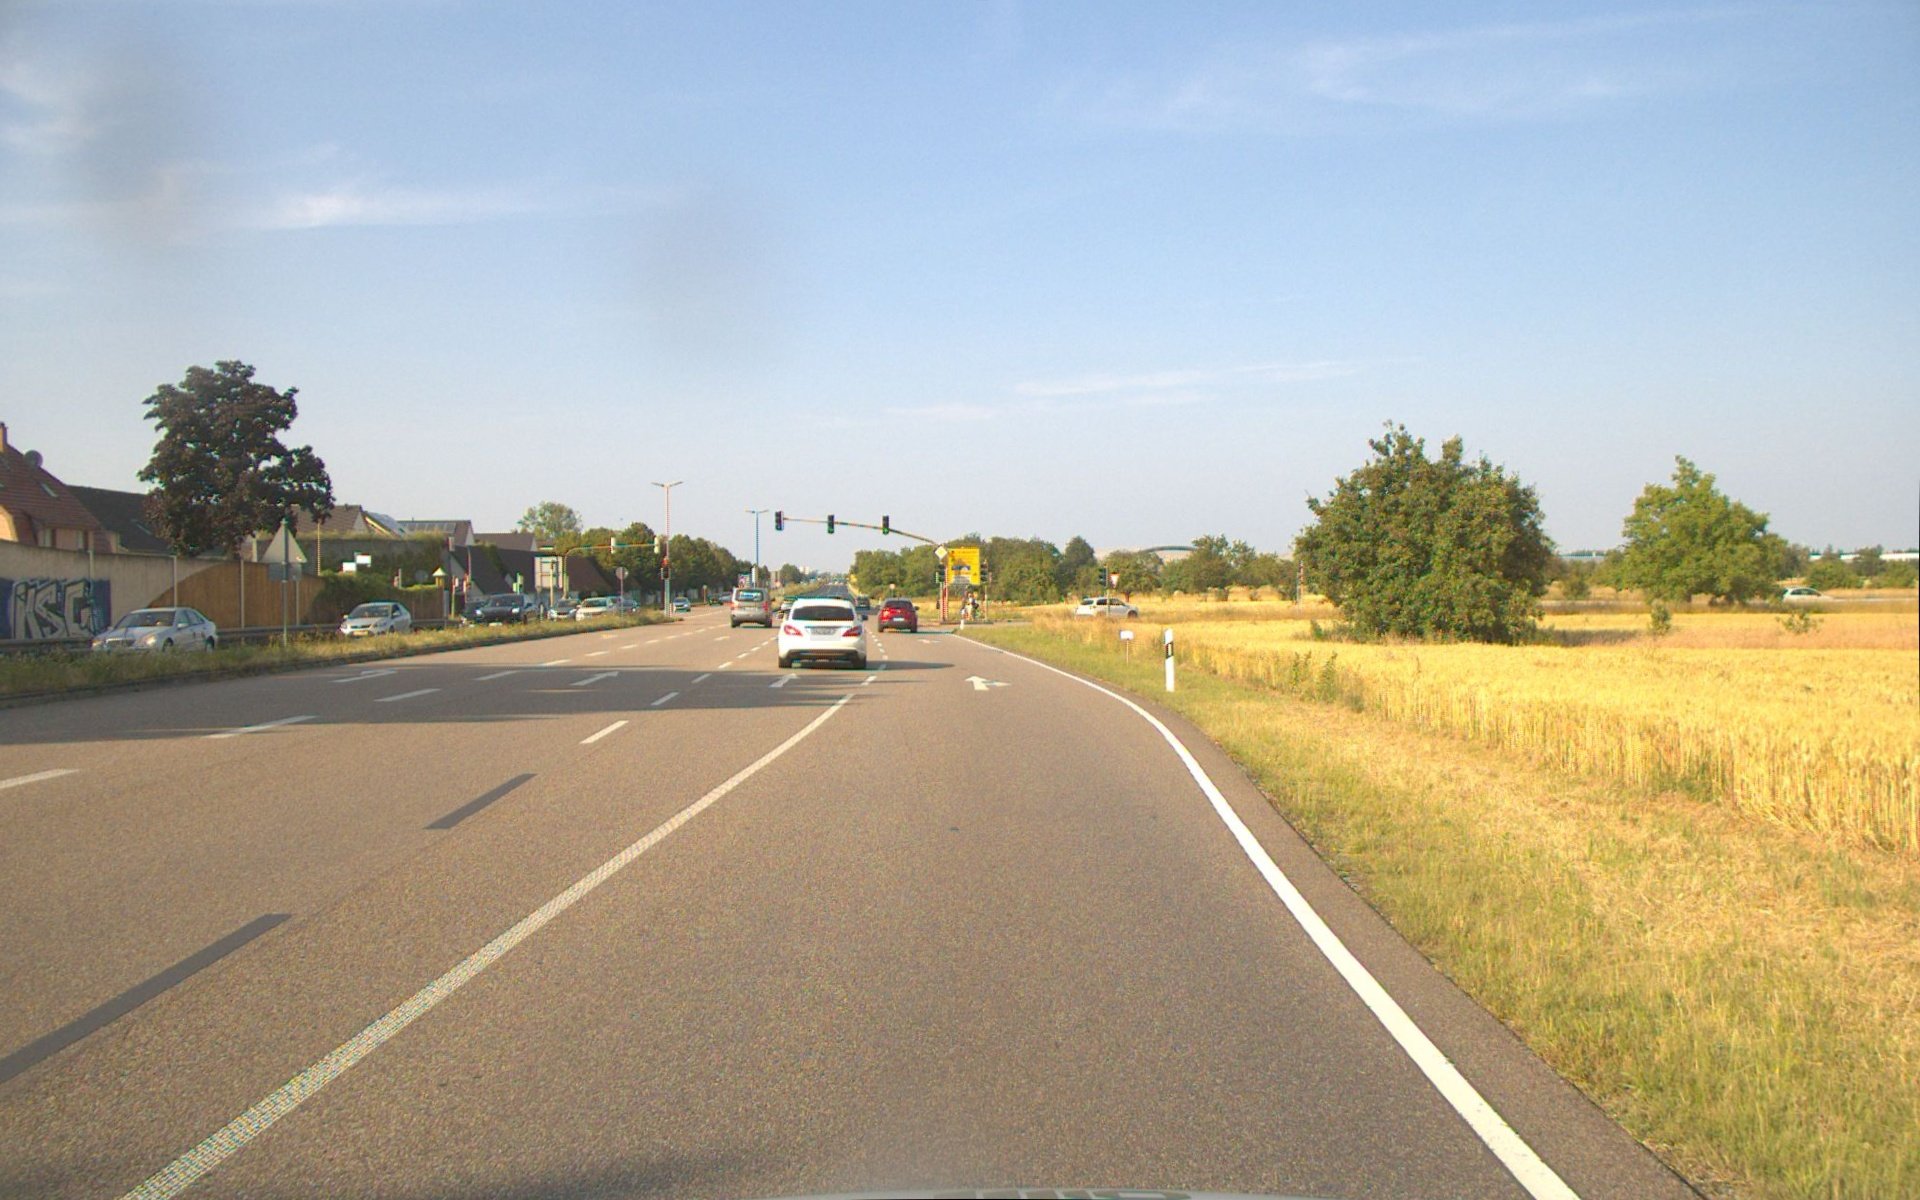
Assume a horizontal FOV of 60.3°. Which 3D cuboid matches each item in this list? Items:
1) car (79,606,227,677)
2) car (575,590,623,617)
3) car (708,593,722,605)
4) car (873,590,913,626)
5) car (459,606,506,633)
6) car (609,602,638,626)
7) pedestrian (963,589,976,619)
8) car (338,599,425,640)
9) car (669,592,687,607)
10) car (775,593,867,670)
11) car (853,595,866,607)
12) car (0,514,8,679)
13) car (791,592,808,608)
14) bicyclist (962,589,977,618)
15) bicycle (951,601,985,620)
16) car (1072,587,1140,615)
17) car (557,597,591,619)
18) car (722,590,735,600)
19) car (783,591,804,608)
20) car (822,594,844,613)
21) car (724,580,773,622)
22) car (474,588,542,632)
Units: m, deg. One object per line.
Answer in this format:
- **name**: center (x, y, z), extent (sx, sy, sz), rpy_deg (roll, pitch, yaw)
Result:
- **car**: center (-20.204, 0.992, 41.621), extent (1.618, 1.594, 4.709), rpy_deg (1, 0, -3)
- **car**: center (-19.453, 0.171, 89.271), extent (1.836, 1.344, 4.709), rpy_deg (1, 0, -4)
- **car**: center (-33.978, -0.144, 229.276), extent (1.700, 1.601, 3.700), rpy_deg (1, 0, -4)
- **car**: center (-3.051, 0.342, 74.590), extent (1.719, 1.543, 3.997), rpy_deg (0, 0, -3)
- **car**: center (-22.408, 0.897, 77.658), extent (1.445, 1.184, 3.060), rpy_deg (1, 0, -3)
- **car**: center (-26.572, 1.094, 130.683), extent (1.741, 1.781, 3.996), rpy_deg (1, 0, -5)
- **pedestrian**: center (0.592, 0.221, 100.481), extent (0.696, 1.782, 0.862), rpy_deg (1, 0, -2)
- **car**: center (-20.993, 0.689, 60.177), extent (1.745, 1.346, 4.602), rpy_deg (1, 0, -3)
- **car**: center (-30.034, -0.071, 176.260), extent (1.750, 1.462, 4.350), rpy_deg (1, 0, -7)
- **car**: center (-2.961, 0.626, 35.546), extent (1.857, 1.535, 3.997), rpy_deg (1, 0, -4)
- **car**: center (-11.078, 0.119, 181.781), extent (1.411, 1.306, 2.912), rpy_deg (1, 0, -3)
- **car**: center (-14.510, -0.050, 19.956), extent (2.302, 2.343, 7.184), rpy_deg (1, 0, -5)
- **car**: center (-17.862, -0.007, 184.289), extent (1.742, 1.694, 3.657), rpy_deg (1, 0, -7)
- **bicyclist**: center (0.588, 0.213, 102.436), extent (0.831, 1.786, 0.798), rpy_deg (1, 0, -3)
- **bicycle**: center (0.492, 0.626, 102.449), extent (2.053, 1.108, 0.807), rpy_deg (1, 0, -1)
- **car**: center (9.009, 0.073, 101.670), extent (3.956, 1.626, 1.837), rpy_deg (1, 0, -37)
- **car**: center (-24.528, 0.506, 105.165), extent (1.652, 1.308, 3.144), rpy_deg (1, 0, -5)
- **car**: center (-35.429, -0.786, 253.327), extent (1.700, 1.601, 3.700), rpy_deg (1, 0, -4)
- **car**: center (-15.034, -0.066, 149.737), extent (1.683, 1.518, 3.582), rpy_deg (1, 0, -4)
- **car**: center (-11.763, 0.335, 153.958), extent (1.802, 1.713, 3.999), rpy_deg (1, 0, -2)
- **car**: center (-10.224, 0.033, 80.339), extent (1.985, 1.925, 4.955), rpy_deg (1, 1, -3)
- **car**: center (-18.210, 0.381, 66.835), extent (1.697, 1.653, 4.918), rpy_deg (1, 0, -4)
